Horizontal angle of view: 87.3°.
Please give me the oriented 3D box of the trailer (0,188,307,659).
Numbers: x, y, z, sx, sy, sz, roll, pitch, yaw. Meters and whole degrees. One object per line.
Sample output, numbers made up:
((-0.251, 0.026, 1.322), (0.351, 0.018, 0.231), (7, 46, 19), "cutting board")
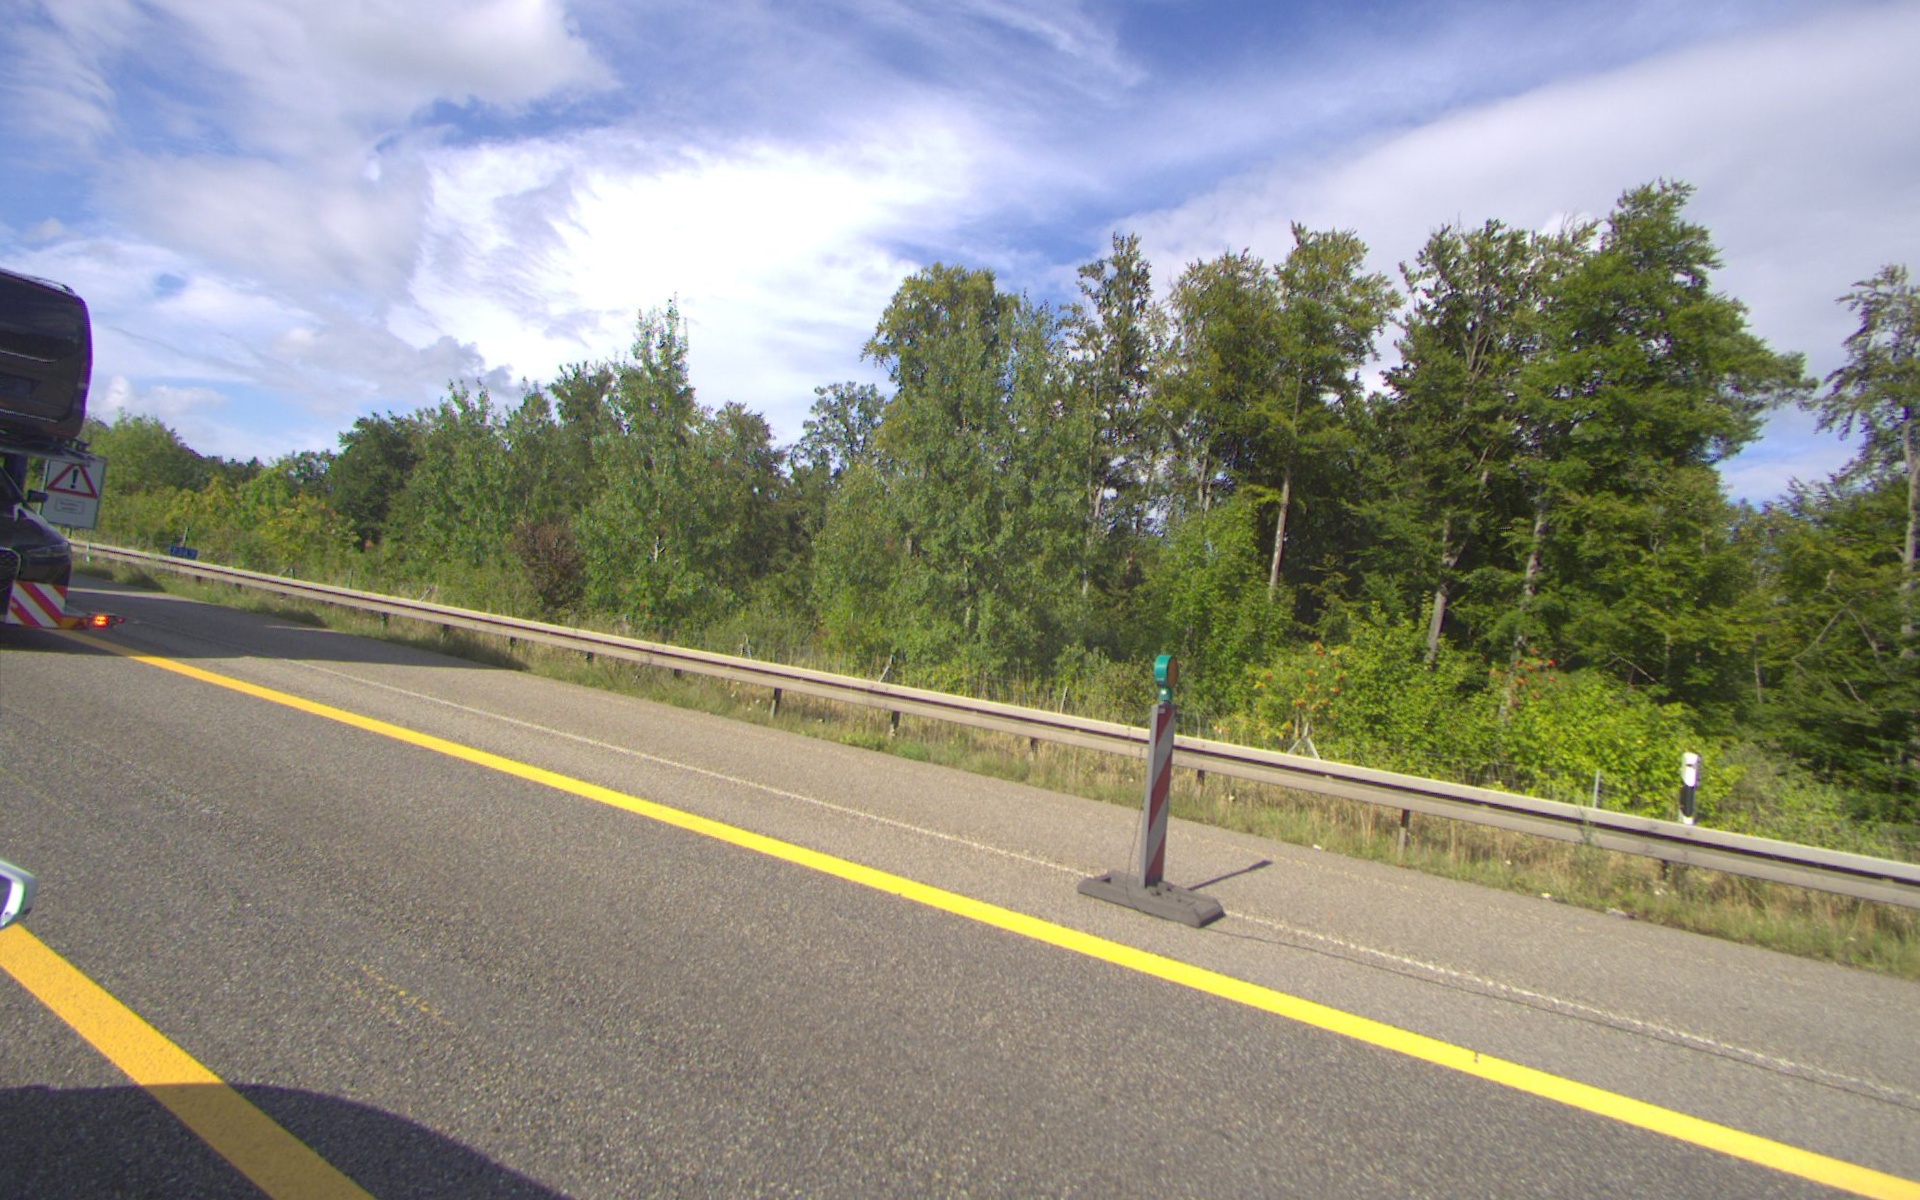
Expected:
((-15.538, -2.380, 14.085), (15.955, 4.244, 3.734), (6, -2, 31), "trailer")
